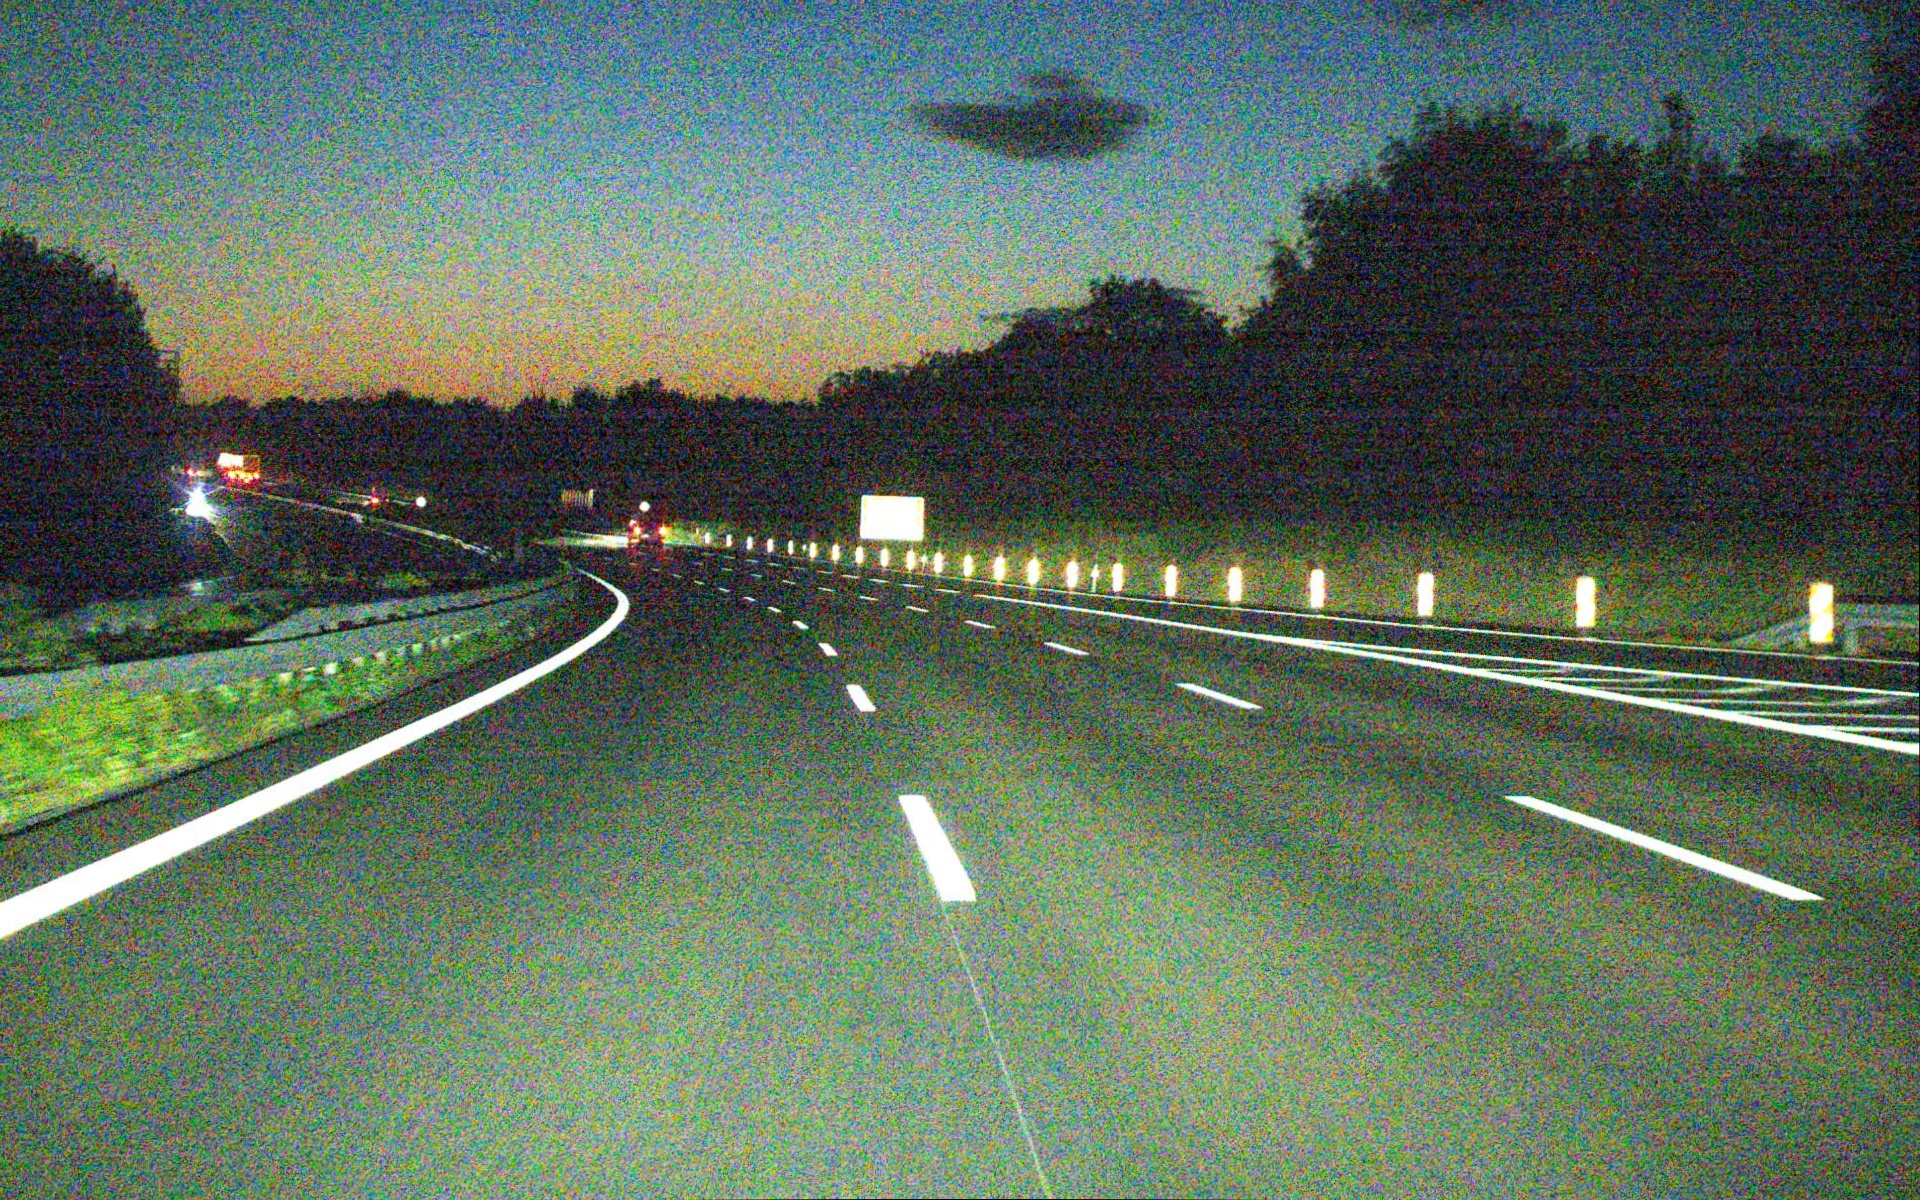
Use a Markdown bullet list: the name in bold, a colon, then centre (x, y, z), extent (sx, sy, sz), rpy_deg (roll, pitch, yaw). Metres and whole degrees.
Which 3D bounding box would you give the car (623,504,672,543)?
- **car**: centre (-22.348, -5.464, 245.544), extent (2.527, 2.544, 6.053), rpy_deg (2, 2, -14)
